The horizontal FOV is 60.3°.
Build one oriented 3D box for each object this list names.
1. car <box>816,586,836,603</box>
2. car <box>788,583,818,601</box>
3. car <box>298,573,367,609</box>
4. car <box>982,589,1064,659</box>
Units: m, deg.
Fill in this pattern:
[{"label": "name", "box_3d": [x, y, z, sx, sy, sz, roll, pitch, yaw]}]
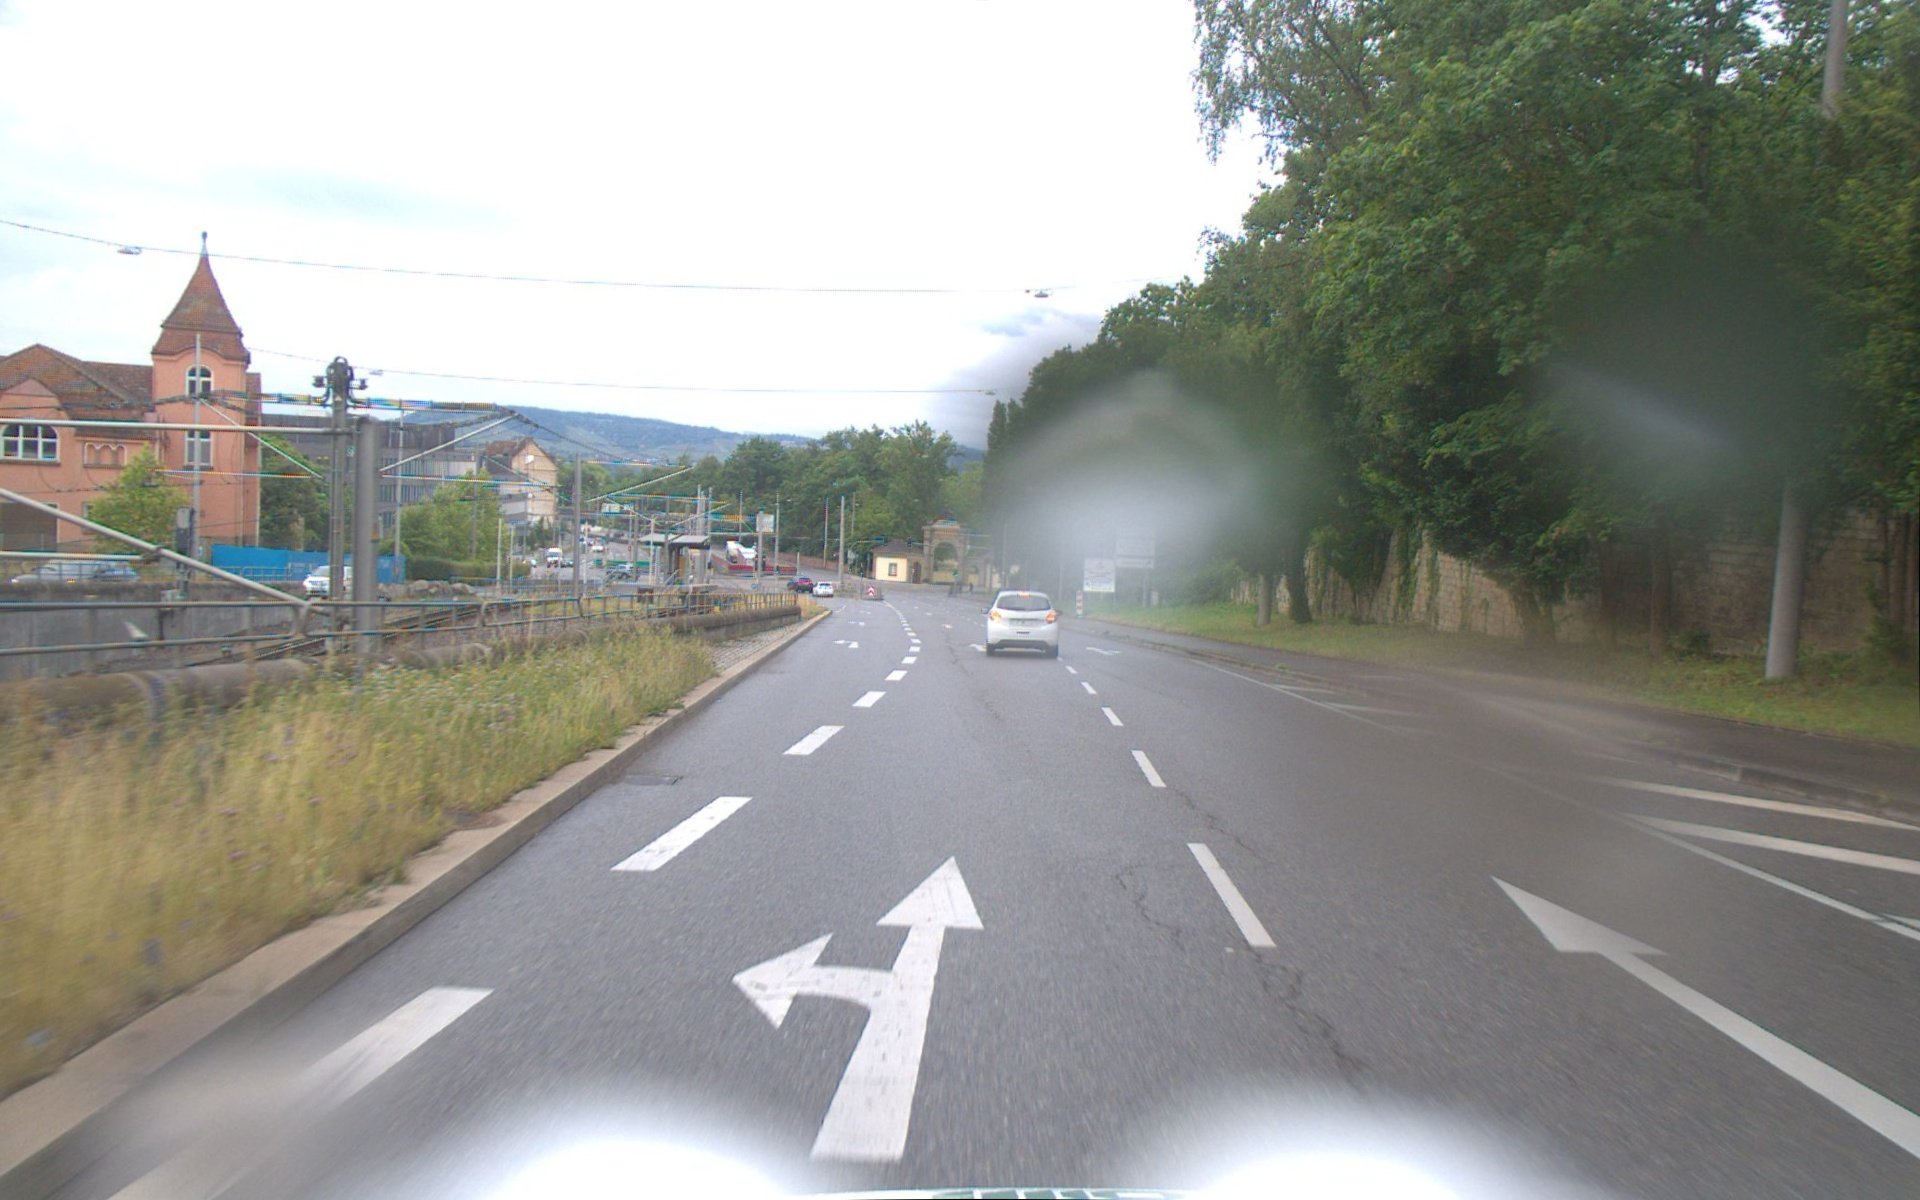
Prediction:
[{"label": "car", "box_3d": [-13.240, -0.582, 163.508, 1.785, 1.634, 3.999, 0, 1, -2]}, {"label": "car", "box_3d": [-16.541, -0.828, 174.122, 1.969, 1.735, 3.968, 1, 1, -25]}, {"label": "car", "box_3d": [-25.815, -0.378, 68.167, 1.524, 1.314, 3.558, 3, 2, -2]}, {"label": "car", "box_3d": [1.462, 0.527, 38.783, 1.830, 1.537, 3.901, 0, 0, 2]}]
